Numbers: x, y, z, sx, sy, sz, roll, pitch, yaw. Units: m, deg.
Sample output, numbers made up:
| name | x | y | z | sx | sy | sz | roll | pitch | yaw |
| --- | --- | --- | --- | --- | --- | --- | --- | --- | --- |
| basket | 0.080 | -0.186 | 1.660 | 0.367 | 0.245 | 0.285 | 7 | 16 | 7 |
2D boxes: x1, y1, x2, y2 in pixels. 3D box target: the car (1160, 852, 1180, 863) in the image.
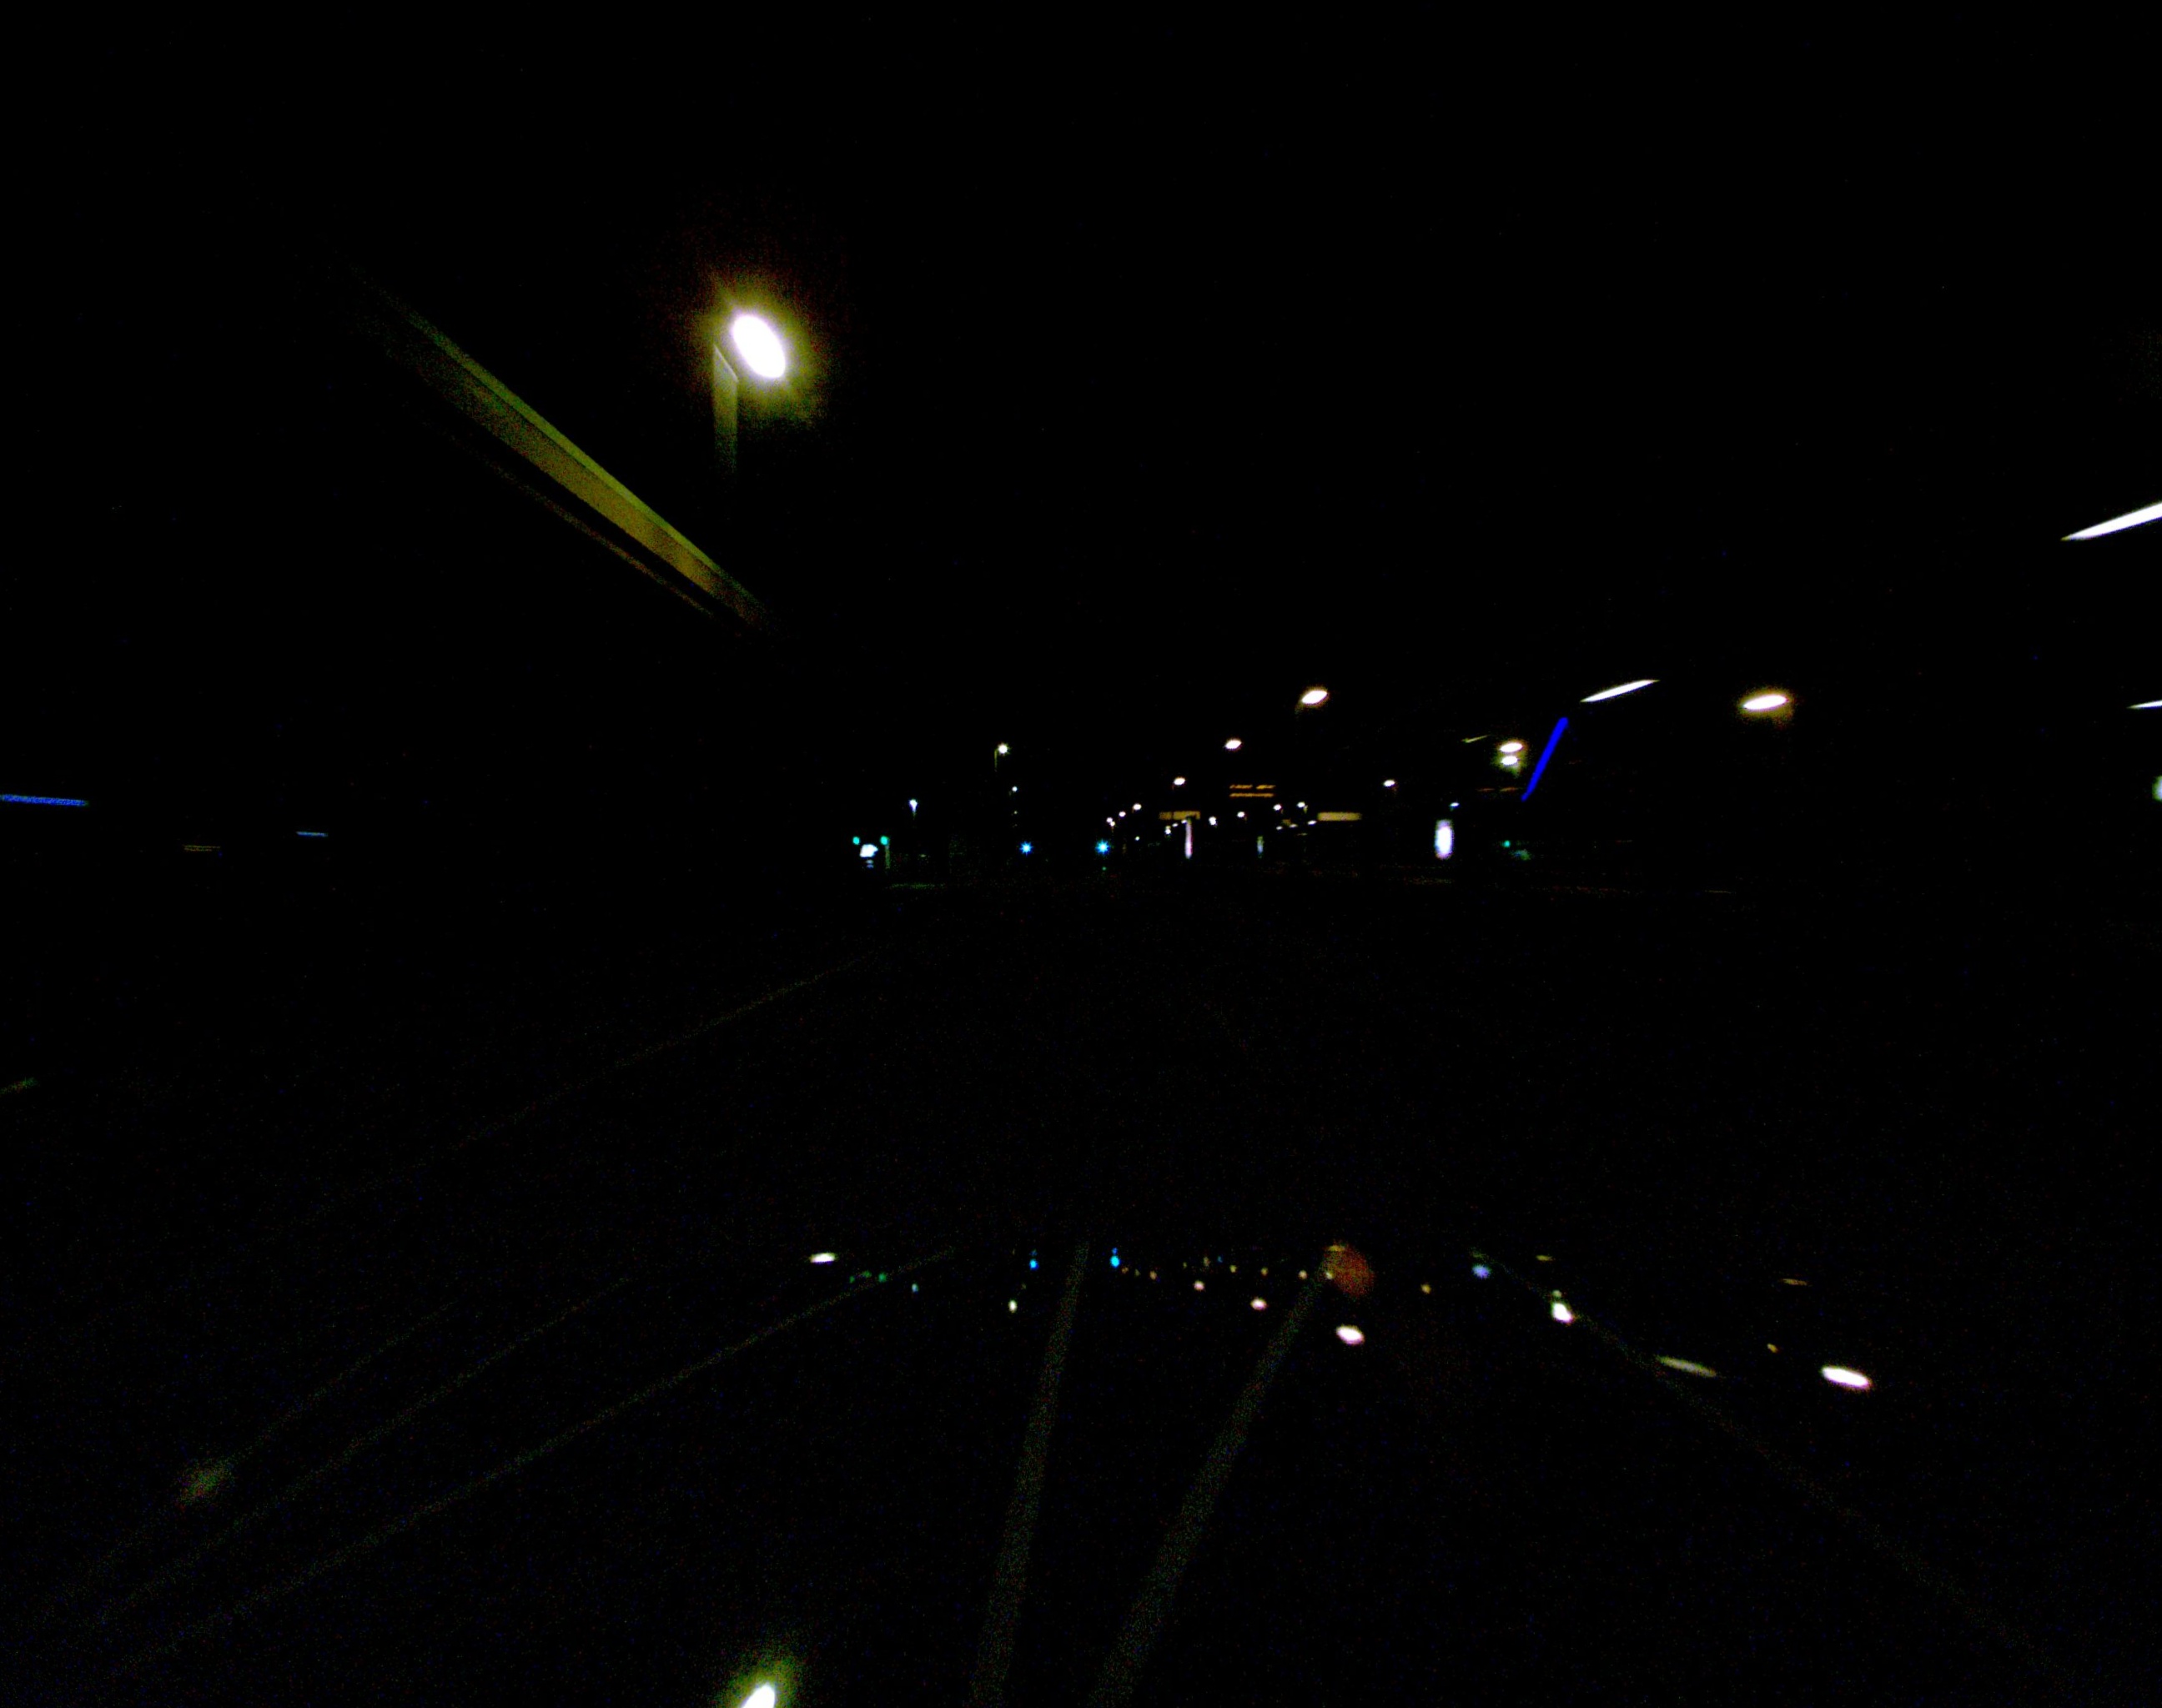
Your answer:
| name | x | y | z | sx | sy | sz | roll | pitch | yaw |
| --- | --- | --- | --- | --- | --- | --- | --- | --- | --- |
| car | 12.690 | 0.476 | 108.611 | 1.871 | 1.496 | 4.092 | 0 | 0 | -6 |
